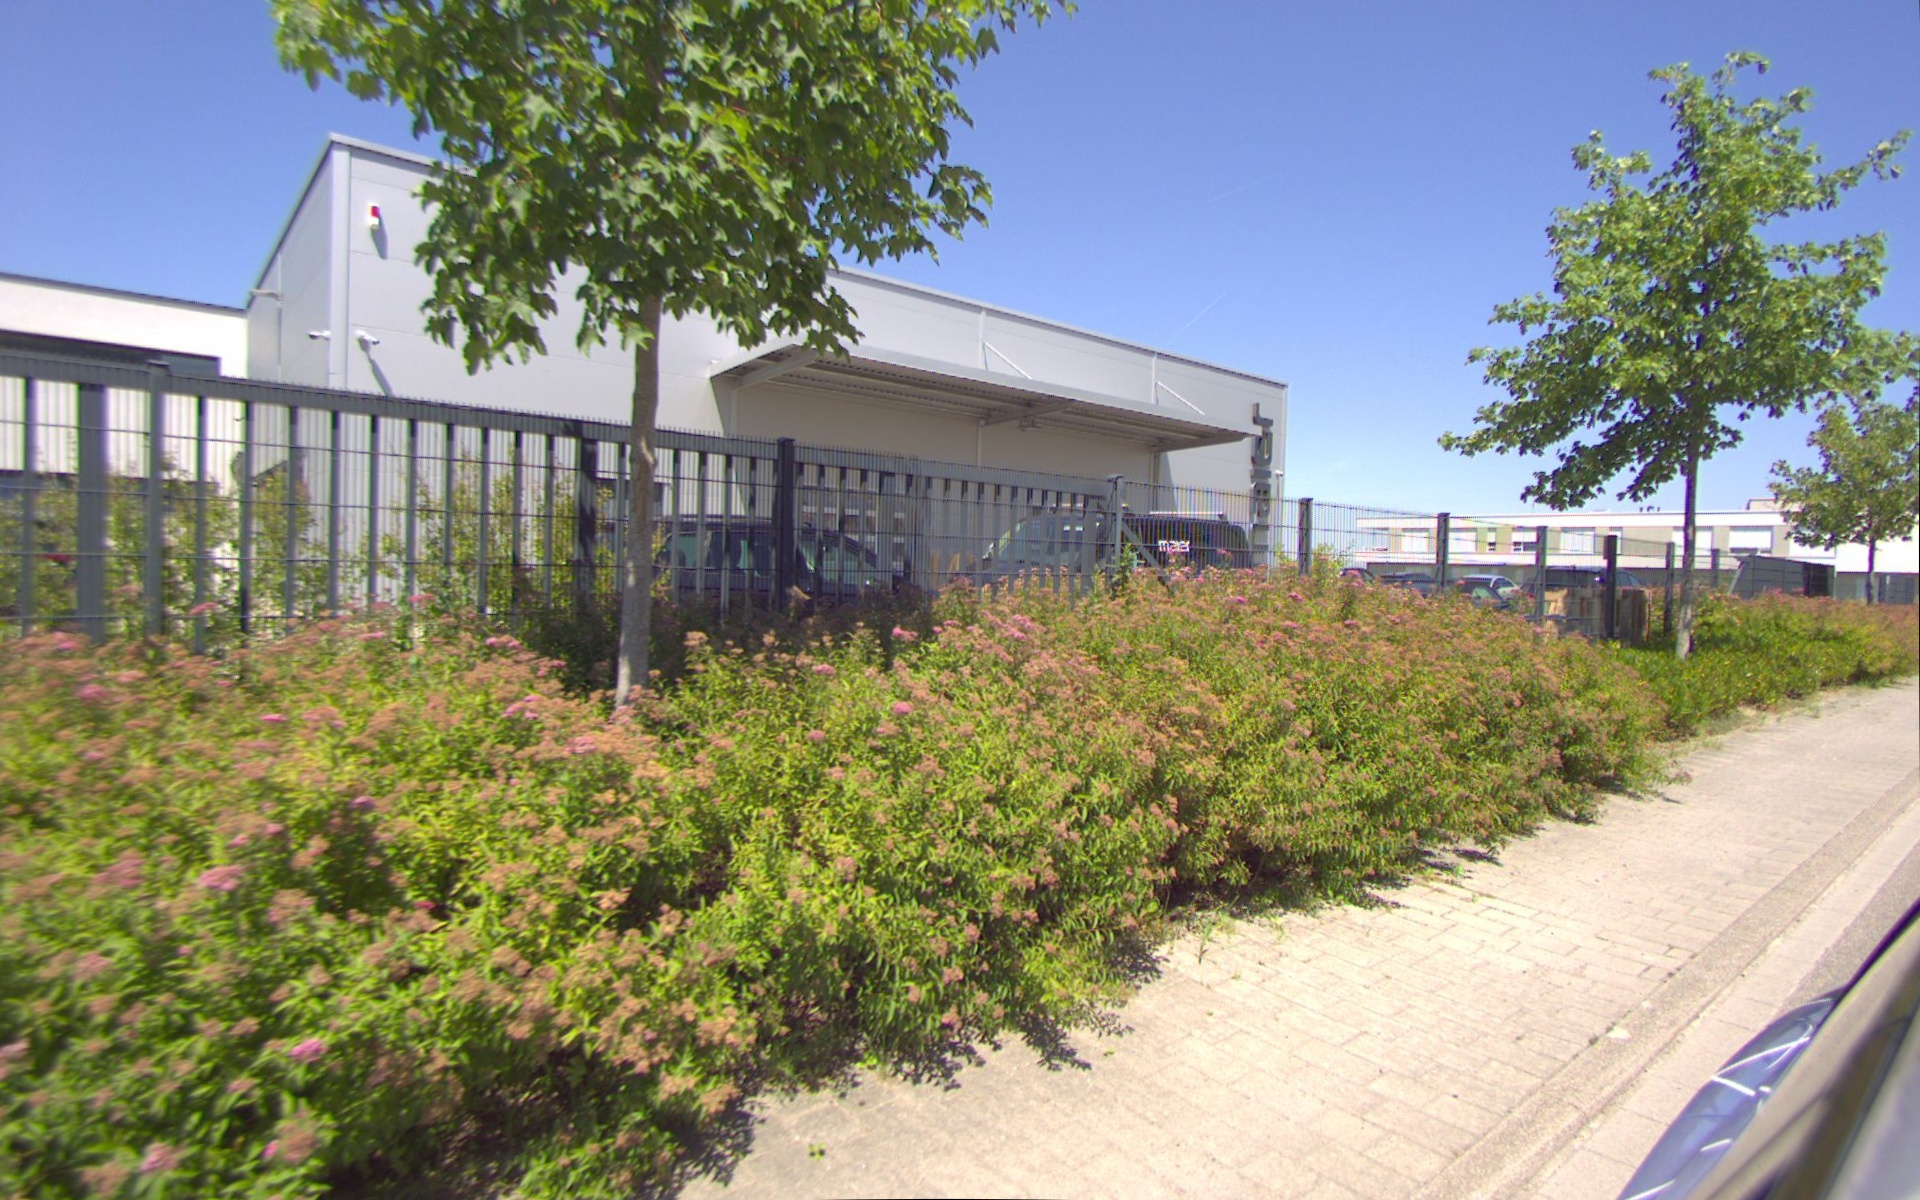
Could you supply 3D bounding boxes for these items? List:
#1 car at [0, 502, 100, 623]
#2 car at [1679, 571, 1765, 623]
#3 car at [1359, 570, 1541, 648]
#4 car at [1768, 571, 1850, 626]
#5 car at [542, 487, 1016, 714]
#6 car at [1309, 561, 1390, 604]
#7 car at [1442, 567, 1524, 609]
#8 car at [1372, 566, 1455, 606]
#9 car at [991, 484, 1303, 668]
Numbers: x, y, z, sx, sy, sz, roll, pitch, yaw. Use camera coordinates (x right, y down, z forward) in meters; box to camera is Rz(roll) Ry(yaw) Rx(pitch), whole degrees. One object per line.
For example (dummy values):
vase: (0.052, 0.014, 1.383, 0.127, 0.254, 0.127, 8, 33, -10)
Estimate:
car: (-13.171, -0.557, 14.077, 1.818, 1.504, 3.996, -1, 3, -40)
car: (24.139, -0.119, 32.032, 3.274, 1.514, 1.517, -1, 3, -41)
car: (9.218, 0.110, 18.929, 3.811, 1.288, 1.622, -1, 3, -40)
car: (26.288, -0.083, 31.324, 2.615, 1.593, 1.470, -1, 3, -40)
car: (-1.435, -0.056, 8.835, 3.811, 1.574, 1.546, -1, 3, -40)
car: (15.936, -0.737, 41.311, 3.719, 1.653, 1.517, -1, 3, -41)
car: (19.267, -0.468, 37.228, 3.479, 1.414, 1.517, -1, 3, -41)
car: (17.588, -0.551, 39.179, 3.719, 1.448, 1.517, -1, 3, -41)
car: (2.615, -0.342, 13.634, 4.151, 2.112, 1.881, 0, 3, -40)
